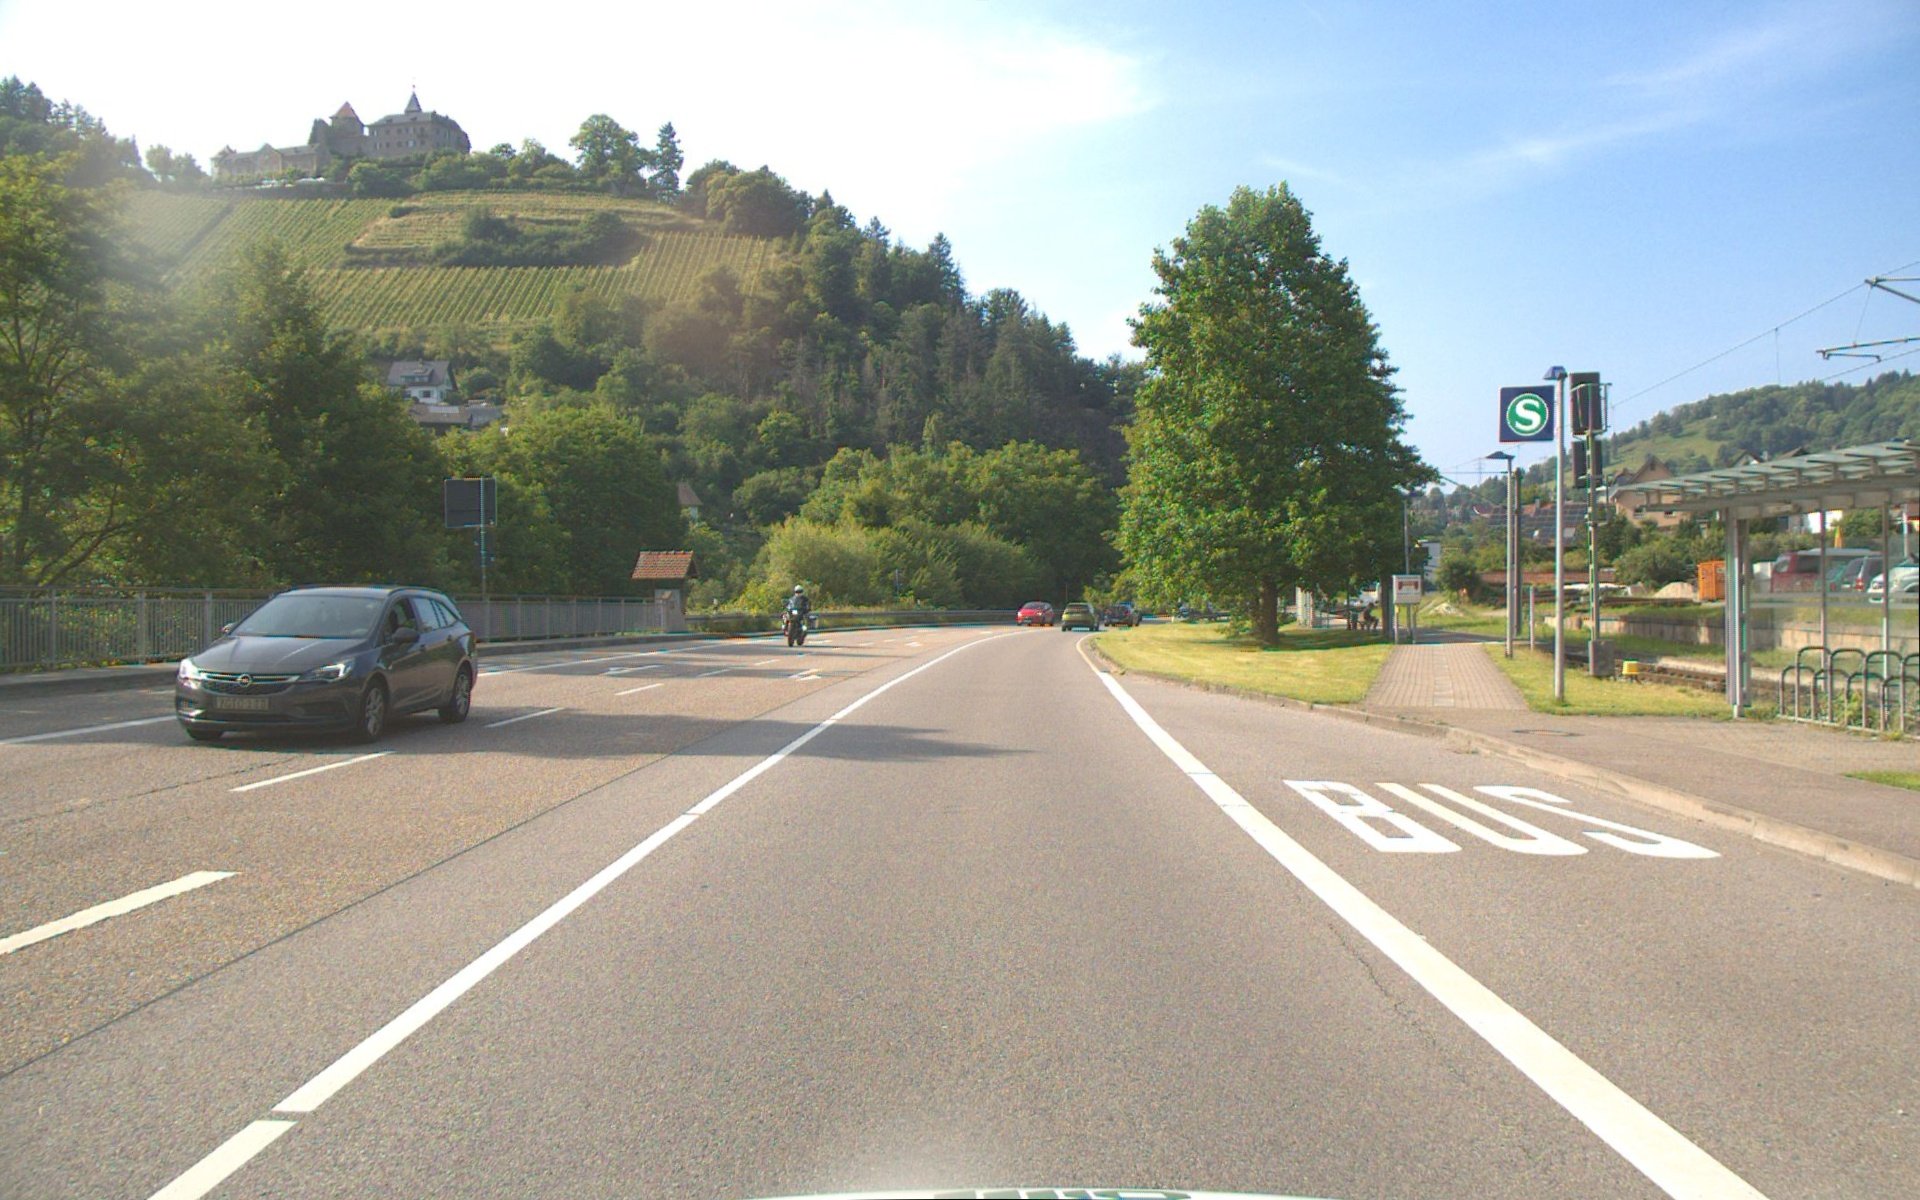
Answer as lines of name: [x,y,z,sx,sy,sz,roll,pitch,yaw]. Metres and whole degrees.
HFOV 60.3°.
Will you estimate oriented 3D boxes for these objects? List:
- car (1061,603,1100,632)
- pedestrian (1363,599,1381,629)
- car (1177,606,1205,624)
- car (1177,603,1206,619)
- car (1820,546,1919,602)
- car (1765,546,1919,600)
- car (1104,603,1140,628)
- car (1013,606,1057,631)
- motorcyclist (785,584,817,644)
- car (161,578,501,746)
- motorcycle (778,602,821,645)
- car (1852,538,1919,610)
car: [6.464,0.937,88.518,1.691,1.482,3.413,-2,0,11]
pedestrian: [16.371,0.556,65.728,0.622,1.181,0.727,-2,-1,15]
car: [19.842,1.303,142.223,1.768,1.478,3.649,-2,0,17]
car: [21.830,1.033,155.901,1.659,1.426,4.200,0,0,23]
car: [28.335,-0.763,48.756,4.845,1.615,2.143,0,0,7]
car: [29.146,-0.873,53.902,4.845,1.720,1.937,0,0,7]
car: [10.513,0.980,107.189,1.801,1.485,3.716,-2,0,14]
car: [4.747,1.144,103.705,1.640,1.485,4.203,0,0,19]
motorcyclist: [-4.896,0.421,51.026,0.827,1.815,1.172,1,0,3]
car: [-6.301,0.556,17.208,1.749,1.504,4.753,0,0,-1]
motorcycle: [-4.916,0.703,50.908,0.952,1.242,2.573,1,0,3]
car: [28.016,-0.731,46.376,4.845,1.977,2.143,0,0,7]
